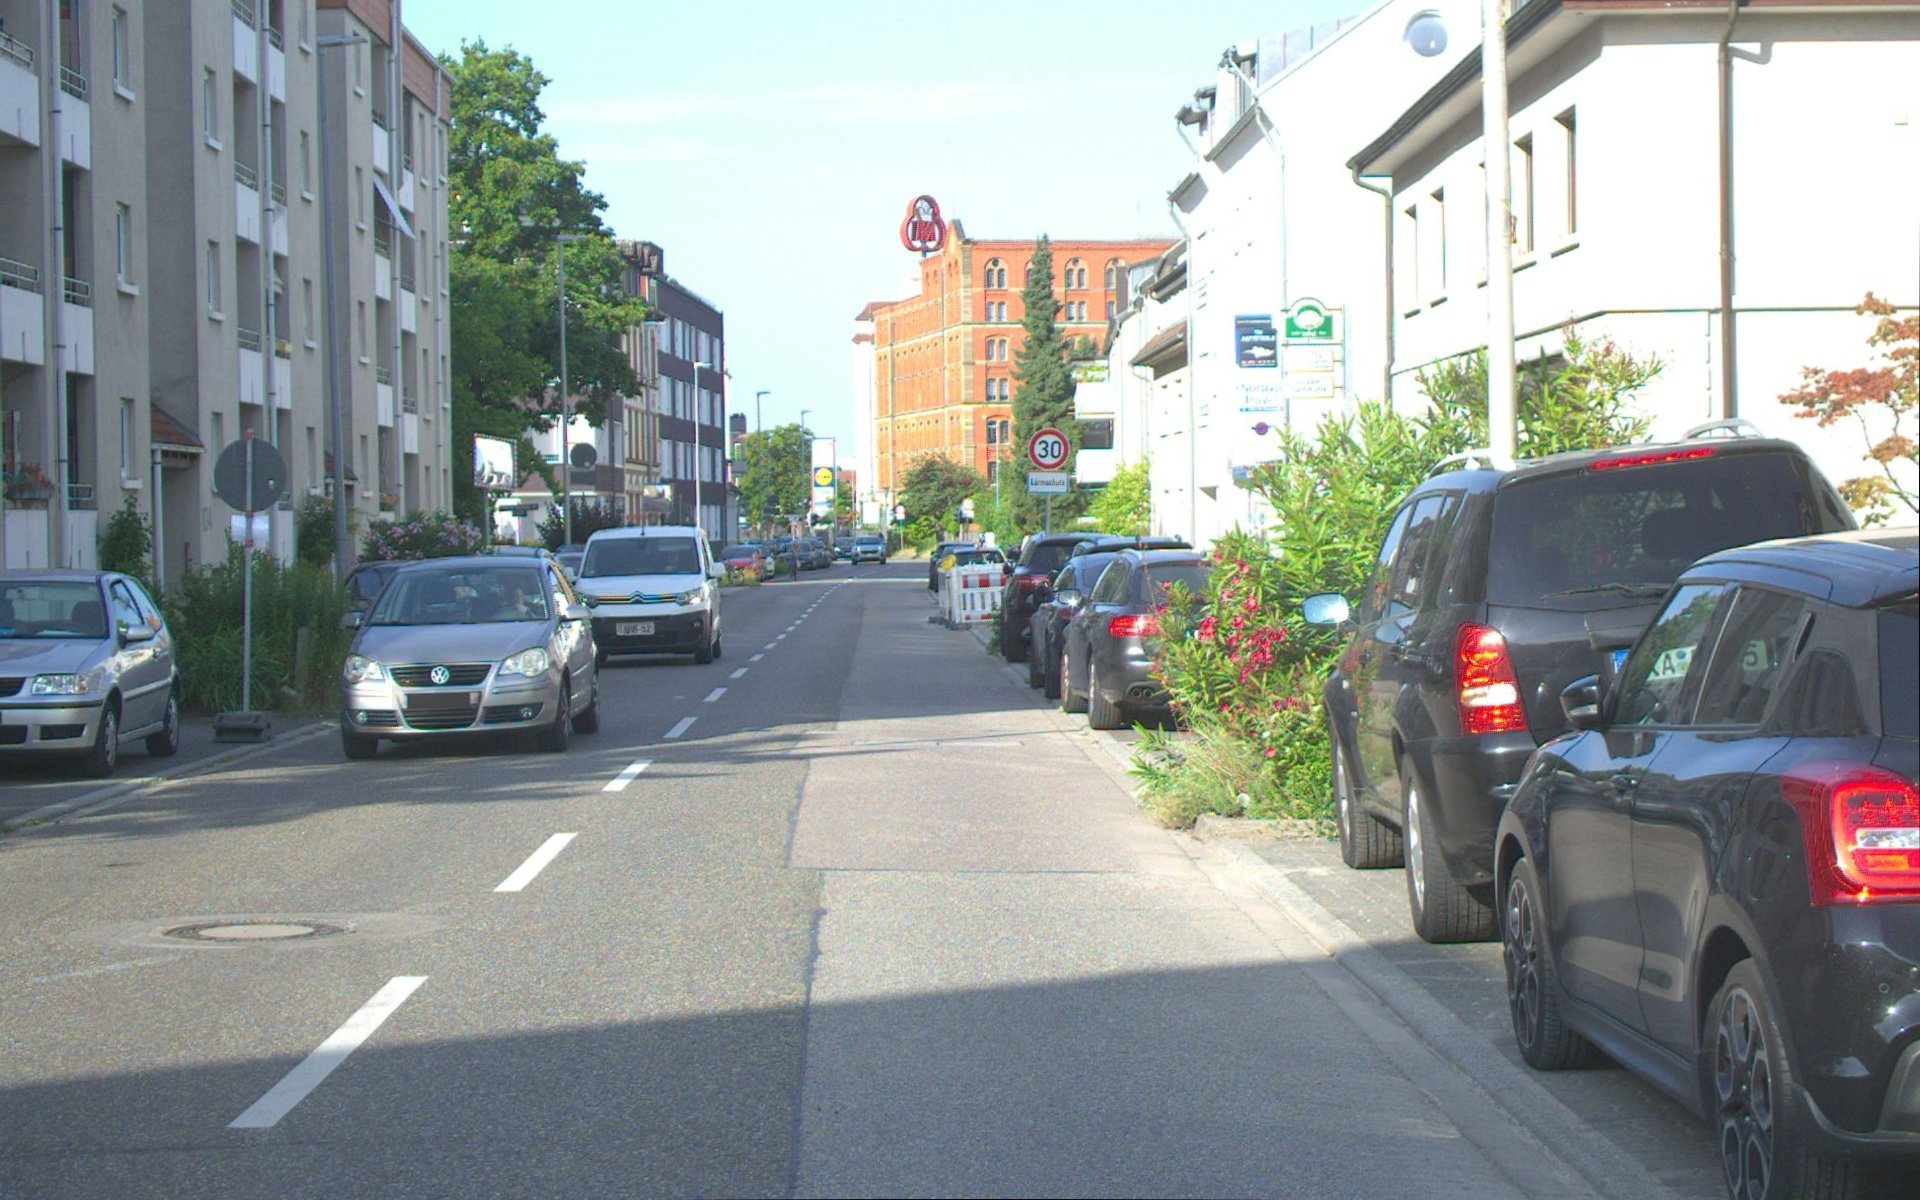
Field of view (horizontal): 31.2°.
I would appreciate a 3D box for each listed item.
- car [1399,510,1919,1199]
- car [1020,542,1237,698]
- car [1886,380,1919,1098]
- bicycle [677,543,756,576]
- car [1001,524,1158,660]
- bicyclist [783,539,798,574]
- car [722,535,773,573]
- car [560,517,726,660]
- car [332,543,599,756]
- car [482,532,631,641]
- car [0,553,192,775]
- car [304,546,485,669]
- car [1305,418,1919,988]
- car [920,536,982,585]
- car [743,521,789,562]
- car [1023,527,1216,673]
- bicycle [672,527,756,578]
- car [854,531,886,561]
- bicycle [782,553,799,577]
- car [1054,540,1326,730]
[{"bbox_3d":[2.318,0.538,8.915,1.589,1.523,4.614,-2,1,-2],"label":"car"},{"bbox_3d":[1.611,0.148,34.292,1.830,1.415,4.609,0,1,-1],"label":"car"},{"bbox_3d":[2.389,0.520,2.896,1.812,1.678,4.477,-3,1,-2],"label":"car"},{"bbox_3d":[-8.920,-1.481,125.996,2.773,1.140,1.143,-1,1,0],"label":"bicycle"},{"bbox_3d":[1.516,-0.079,44.989,1.830,1.624,4.463,2,0,0],"label":"car"},{"bbox_3d":[-6.900,-1.778,139.893,0.590,1.437,0.751,0,1,-1],"label":"bicyclist"},{"bbox_3d":[-8.271,-1.809,134.071,1.840,1.459,3.585,0,1,-1],"label":"car"},{"bbox_3d":[-4.110,-0.197,45.129,1.922,1.761,4.339,-1,1,-2],"label":"car"},{"bbox_3d":[-3.693,0.322,26.183,1.617,1.450,3.686,-1,1,-2],"label":"car"},{"bbox_3d":[-5.969,-0.235,51.218,1.726,1.550,3.965,0,1,0],"label":"car"},{"bbox_3d":[-6.590,0.419,24.239,1.640,1.390,3.672,-3,1,-3],"label":"car"},{"bbox_3d":[-6.867,0.053,42.103,1.686,1.401,4.084,0,1,-2],"label":"car"},{"bbox_3d":[2.639,0.266,13.746,2.075,1.849,4.610,-2,2,1],"label":"car"},{"bbox_3d":[-0.302,-1.262,108.833,1.859,1.467,4.000,1,1,-2],"label":"car"},{"bbox_3d":[-9.014,-2.722,159.994,1.993,1.875,4.000,0,1,-1],"label":"car"},{"bbox_3d":[1.783,-0.040,39.679,1.829,1.555,4.318,-1,1,-2],"label":"car"},{"bbox_3d":[-8.891,-1.721,124.219,2.918,1.771,1.202,-1,1,0],"label":"bicycle"},{"bbox_3d":[-5.077,-3.071,194.869,1.763,1.610,4.000,-1,1,-1],"label":"car"},{"bbox_3d":[-6.899,-1.441,139.874,0.608,0.939,1.811,-1,1,-1],"label":"bicycle"},{"bbox_3d":[1.825,0.230,28.603,1.779,1.415,4.497,-1,1,-2],"label":"car"}]
